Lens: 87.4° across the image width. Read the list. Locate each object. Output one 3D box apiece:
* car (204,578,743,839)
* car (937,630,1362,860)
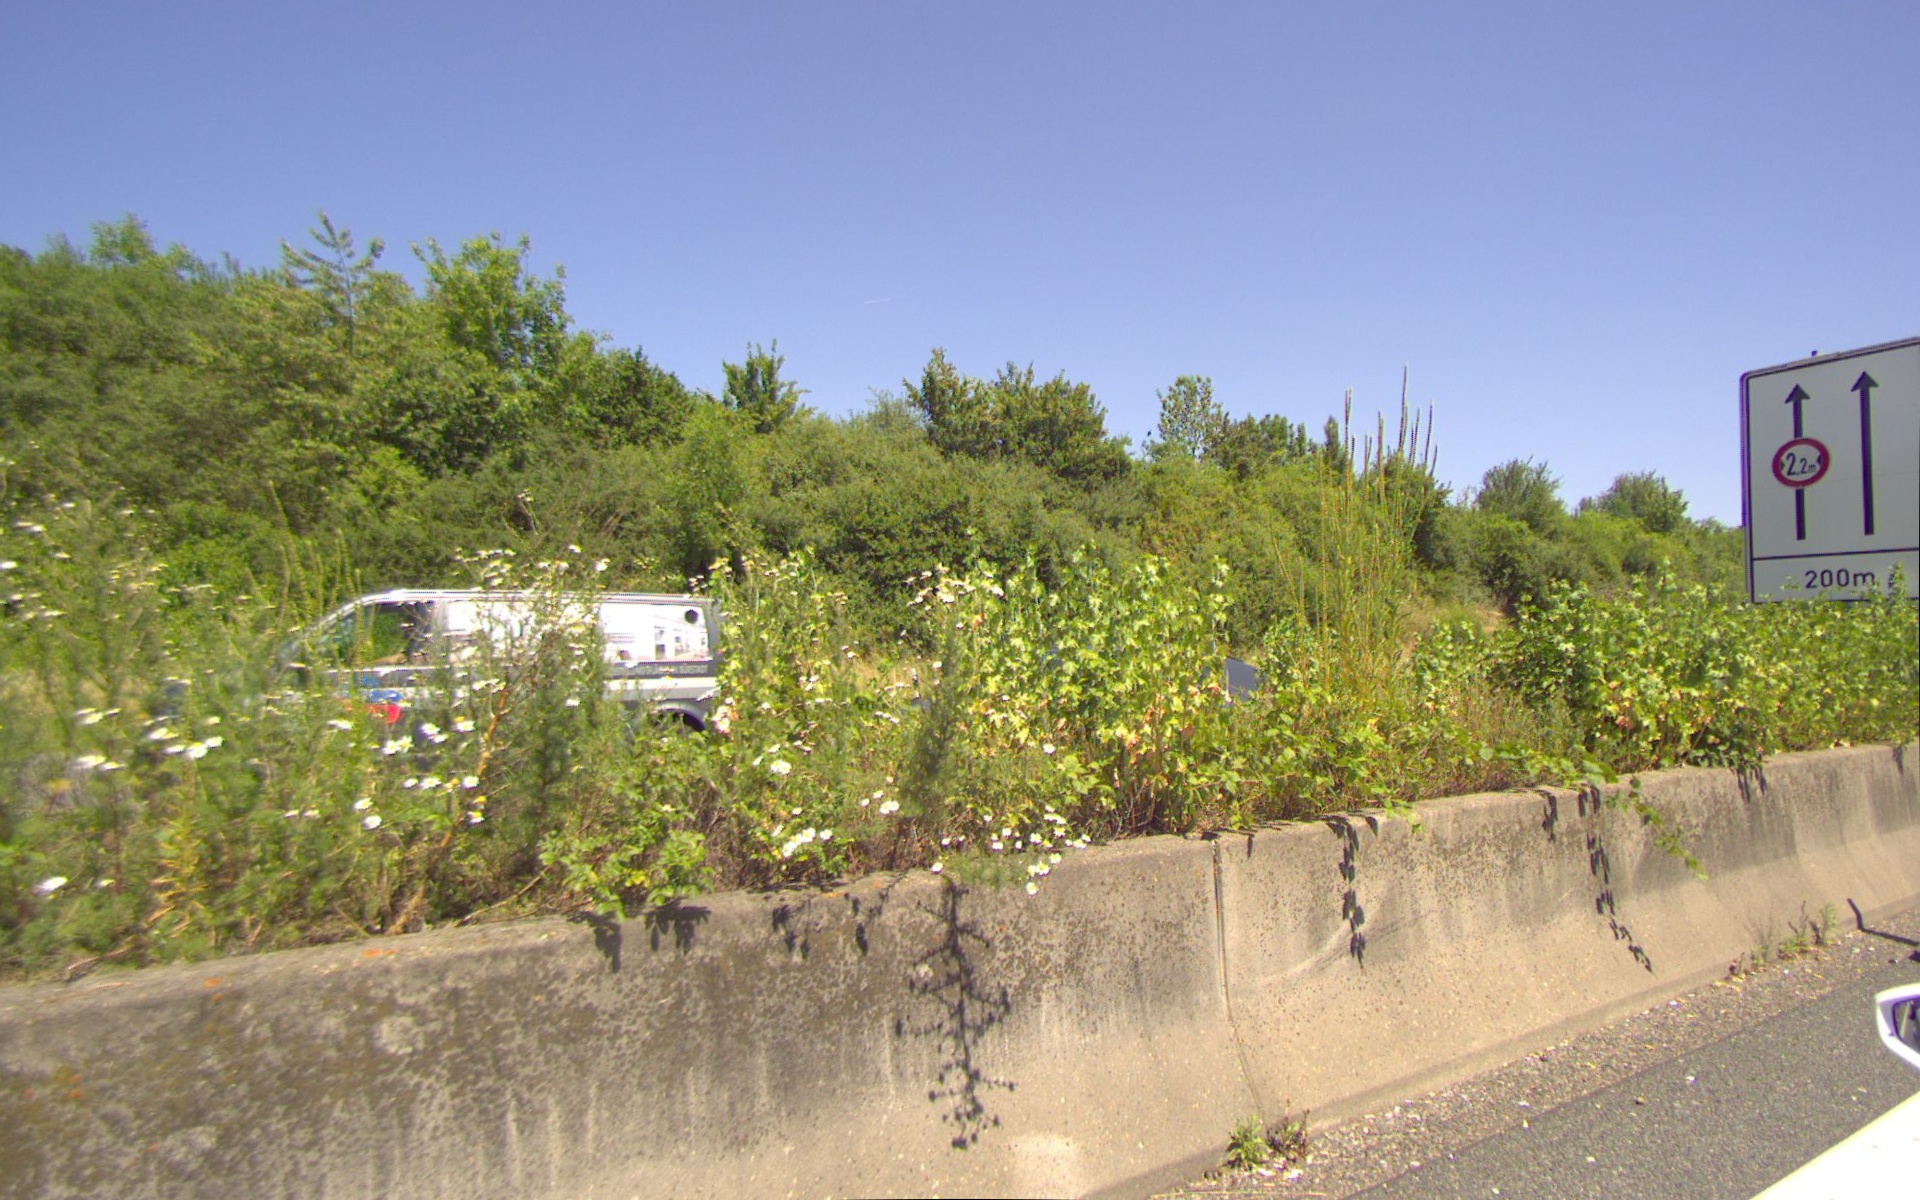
[{"bbox_3d":[-4.567,0.915,9.868,4.362,2.040,1.951,1,-2,-32],"label":"car"},{"bbox_3d":[1.893,1.213,9.697,3.953,1.812,1.641,1,-2,-30],"label":"car"}]
